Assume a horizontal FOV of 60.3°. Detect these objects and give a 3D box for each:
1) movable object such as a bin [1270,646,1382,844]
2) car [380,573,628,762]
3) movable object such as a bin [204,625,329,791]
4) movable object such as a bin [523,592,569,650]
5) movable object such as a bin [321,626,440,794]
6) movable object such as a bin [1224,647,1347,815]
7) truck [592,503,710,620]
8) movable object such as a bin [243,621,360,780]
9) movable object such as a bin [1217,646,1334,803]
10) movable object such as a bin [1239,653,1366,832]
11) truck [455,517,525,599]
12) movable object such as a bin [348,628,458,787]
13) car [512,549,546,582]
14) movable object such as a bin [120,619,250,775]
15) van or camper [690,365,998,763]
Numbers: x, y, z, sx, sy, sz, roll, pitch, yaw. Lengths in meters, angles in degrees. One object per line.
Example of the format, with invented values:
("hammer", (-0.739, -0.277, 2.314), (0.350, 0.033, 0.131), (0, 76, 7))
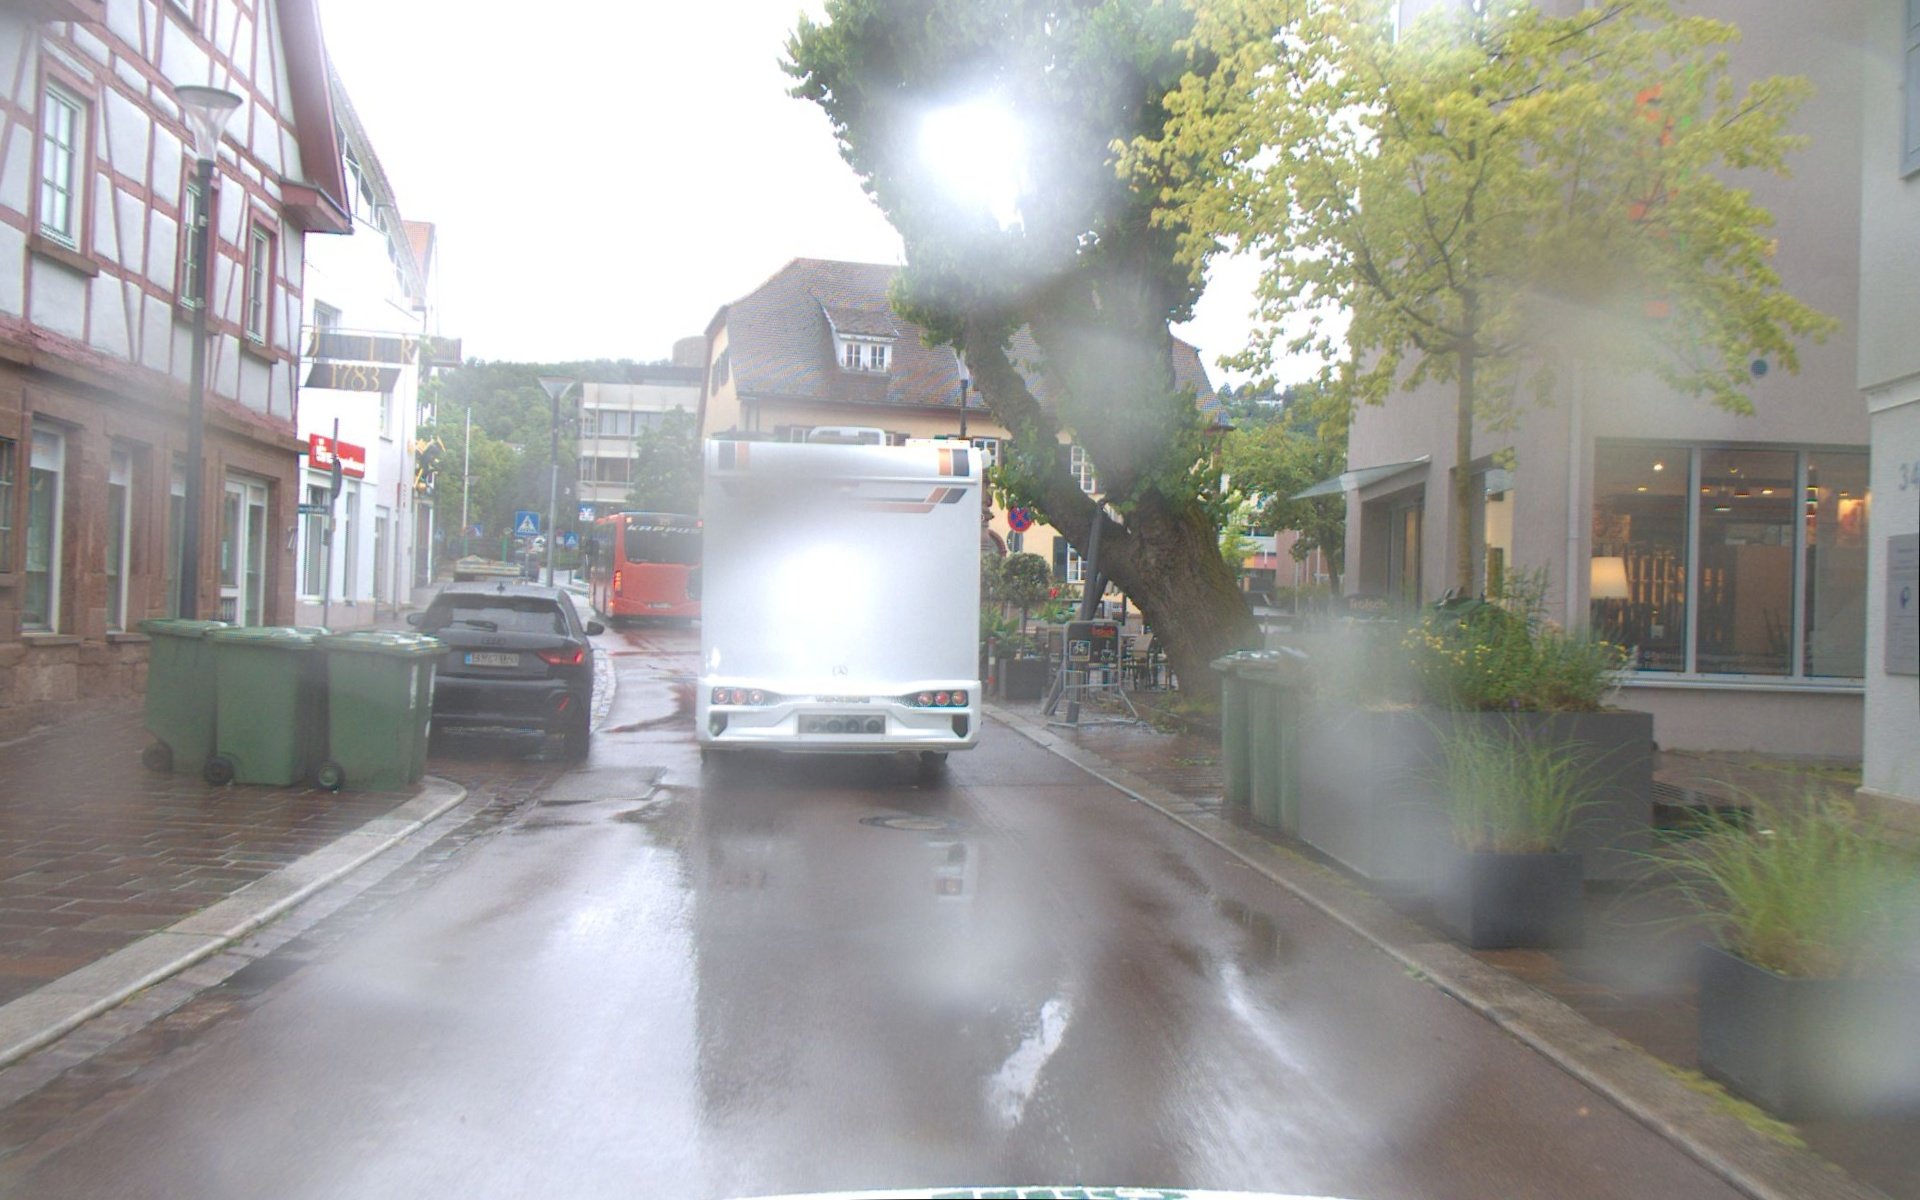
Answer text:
("movable object such as a bin", (2.253, 0.881, 10.233), (0.532, 1.176, 0.576), (1, -1, -3))
("car", (-4.287, 0.555, 15.950), (1.959, 1.520, 3.987), (3, 0, -13))
("movable object such as a bin", (-4.824, 0.737, 11.542), (0.618, 1.070, 0.733), (1, 3, -8))
("movable object such as a bin", (-7.790, 0.400, 31.111), (0.805, 1.069, 0.697), (1, -1, -15))
("movable object such as a bin", (-4.049, 0.752, 11.599), (0.618, 1.133, 0.732), (1, -1, -8))
("movable object such as a bin", (2.254, 0.897, 11.497), (0.714, 1.121, 0.561), (1, -1, -3))
("truck", (-8.780, -0.972, 46.499), (2.424, 2.991, 6.165), (2, -1, -18))
("movable object such as a bin", (-4.895, 0.735, 12.337), (0.618, 1.142, 0.732), (1, -1, -8))
("movable object such as a bin", (2.294, 0.899, 12.084), (0.714, 1.099, 0.576), (1, -1, -3))
("movable object such as a bin", (2.231, 0.915, 10.820), (0.679, 1.121, 0.561), (1, -1, -3))
("truck", (-17.725, -1.504, 62.228), (2.245, 2.806, 5.540), (2, -1, -18))
("movable object such as a bin", (-4.144, 0.784, 12.346), (0.618, 1.142, 0.732), (1, -1, -8))
("car", (-28.930, -2.306, 110.879), (1.962, 2.049, 3.980), (2, -1, -17))
("movable object such as a bin", (-5.517, 0.677, 11.813), (0.618, 1.070, 0.732), (1, -1, -8))
("van or camper", (-1.376, -0.206, 15.739), (2.283, 2.970, 6.378), (1, -1, -9))
